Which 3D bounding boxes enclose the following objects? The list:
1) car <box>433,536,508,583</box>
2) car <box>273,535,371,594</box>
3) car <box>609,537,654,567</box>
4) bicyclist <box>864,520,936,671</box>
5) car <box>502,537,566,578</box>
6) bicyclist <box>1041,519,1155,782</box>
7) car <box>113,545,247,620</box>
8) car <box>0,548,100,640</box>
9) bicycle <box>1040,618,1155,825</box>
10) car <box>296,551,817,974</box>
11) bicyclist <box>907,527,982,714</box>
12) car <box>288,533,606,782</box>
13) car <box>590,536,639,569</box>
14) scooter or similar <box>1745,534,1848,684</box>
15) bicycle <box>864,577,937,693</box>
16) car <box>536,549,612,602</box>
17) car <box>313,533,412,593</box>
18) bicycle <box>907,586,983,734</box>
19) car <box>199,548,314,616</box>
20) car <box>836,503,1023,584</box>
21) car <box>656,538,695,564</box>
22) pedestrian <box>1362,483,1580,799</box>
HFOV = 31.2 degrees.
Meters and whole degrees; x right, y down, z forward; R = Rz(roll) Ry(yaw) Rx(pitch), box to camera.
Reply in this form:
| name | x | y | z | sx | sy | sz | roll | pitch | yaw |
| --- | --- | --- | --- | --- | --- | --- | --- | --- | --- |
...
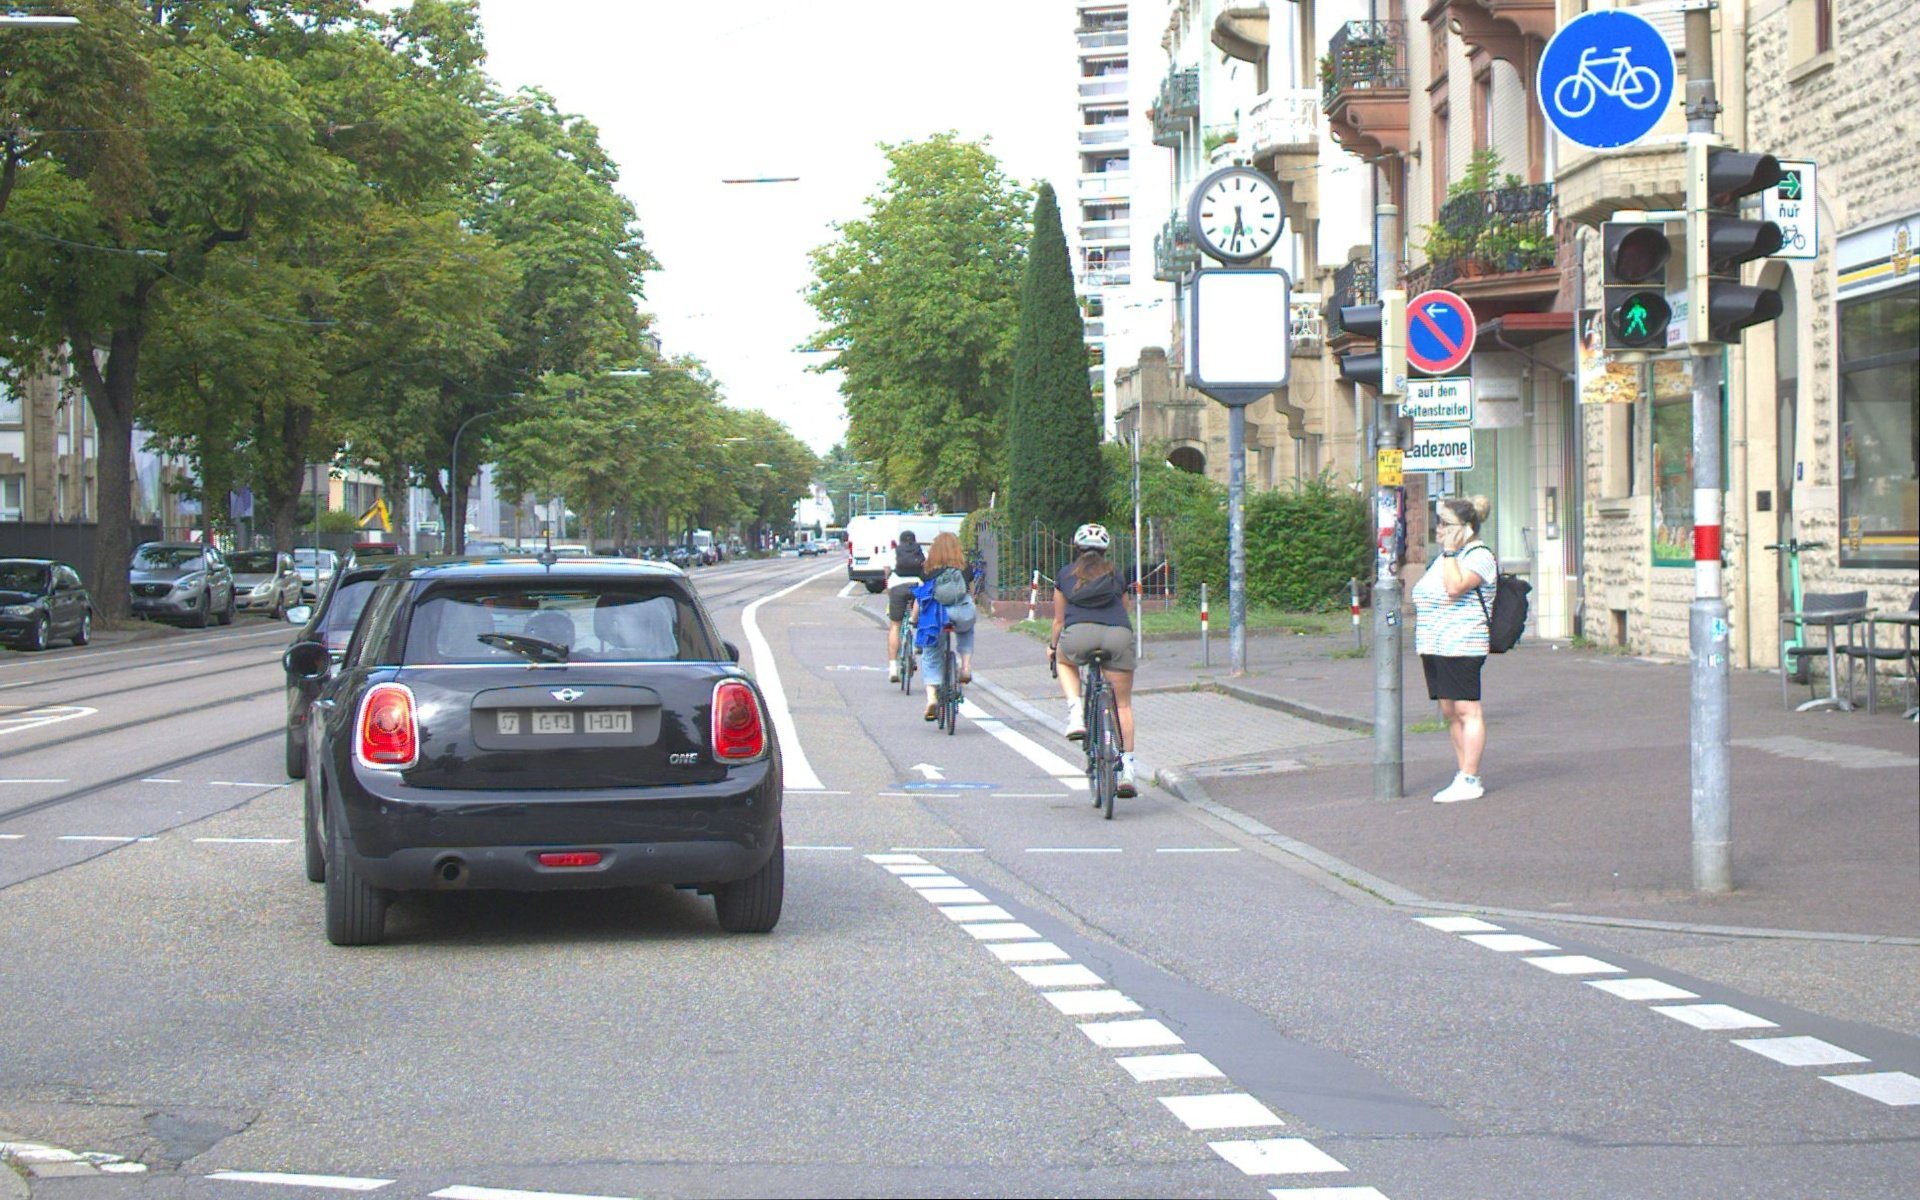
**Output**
| name | x | y | z | sx | sy | sz | roll | pitch | yaw |
| --- | --- | --- | --- | --- | --- | --- | --- | --- | --- |
| car | -16.608 | -1.391 | 116.790 | 1.993 | 1.546 | 4.000 | -1 | 1 | 0 |
| car | -15.821 | -0.893 | 85.423 | 1.767 | 1.390 | 4.000 | -1 | 1 | -1 |
| car | -17.130 | -2.514 | 179.475 | 1.993 | 1.546 | 4.000 | -1 | 1 | 0 |
| bicyclist | -0.630 | -0.059 | 36.434 | 0.684 | 1.558 | 0.998 | -1 | 1 | 1 |
| car | -16.471 | -1.655 | 133.024 | 1.993 | 1.546 | 4.000 | -1 | 1 | 0 |
| bicyclist | 0.802 | 0.276 | 19.815 | 0.615 | 1.467 | 0.915 | -1 | 1 | 3 |
| car | -15.193 | -0.365 | 67.109 | 1.767 | 1.390 | 4.000 | -1 | 1 | -1 |
| car | -15.135 | -0.115 | 55.085 | 1.767 | 1.390 | 4.000 | -1 | 1 | -1 |
| bicycle | 0.805 | 0.674 | 19.834 | 0.615 | 1.073 | 1.821 | -1 | 1 | 3 |
| car | -1.789 | 0.536 | 14.105 | 1.751 | 1.436 | 4.001 | -1 | 1 | -12 |
| bicyclist | -0.131 | 0.161 | 29.069 | 0.594 | 1.545 | 1.014 | -1 | 1 | 0 |
| car | -3.502 | 0.320 | 23.336 | 1.926 | 1.504 | 4.001 | -1 | 1 | -9 |
| car | -17.007 | -2.356 | 169.246 | 1.993 | 1.546 | 4.000 | -1 | 1 | 0 |
| scooter or similar | 6.816 | 0.059 | 28.040 | 0.508 | 1.184 | 1.262 | -1 | 1 | 0 |
| bicycle | -0.622 | 0.358 | 36.488 | 0.684 | 1.166 | 1.696 | -1 | 1 | 1 |
| car | -10.836 | -0.706 | 96.714 | 1.767 | 1.390 | 4.000 | -1 | 1 | -1 |
| car | -16.283 | -1.026 | 93.822 | 1.993 | 1.546 | 4.000 | -1 | 1 | 0 |
| bicycle | -0.133 | 0.490 | 29.010 | 0.598 | 1.166 | 1.697 | -1 | 1 | 0 |
| car | -15.268 | -0.418 | 74.783 | 1.767 | 1.390 | 4.000 | -1 | 1 | -1 |
| car | -0.865 | -1.651 | 99.462 | 5.025 | 2.265 | 2.396 | -2 | 2 | -41 |
| car | -17.340 | -2.999 | 209.634 | 1.993 | 1.546 | 4.000 | -1 | 1 | 0 |
| pedestrian | 2.843 | 0.224 | 19.116 | 0.833 | 1.668 | 0.732 | -5 | 2 | -44 |
